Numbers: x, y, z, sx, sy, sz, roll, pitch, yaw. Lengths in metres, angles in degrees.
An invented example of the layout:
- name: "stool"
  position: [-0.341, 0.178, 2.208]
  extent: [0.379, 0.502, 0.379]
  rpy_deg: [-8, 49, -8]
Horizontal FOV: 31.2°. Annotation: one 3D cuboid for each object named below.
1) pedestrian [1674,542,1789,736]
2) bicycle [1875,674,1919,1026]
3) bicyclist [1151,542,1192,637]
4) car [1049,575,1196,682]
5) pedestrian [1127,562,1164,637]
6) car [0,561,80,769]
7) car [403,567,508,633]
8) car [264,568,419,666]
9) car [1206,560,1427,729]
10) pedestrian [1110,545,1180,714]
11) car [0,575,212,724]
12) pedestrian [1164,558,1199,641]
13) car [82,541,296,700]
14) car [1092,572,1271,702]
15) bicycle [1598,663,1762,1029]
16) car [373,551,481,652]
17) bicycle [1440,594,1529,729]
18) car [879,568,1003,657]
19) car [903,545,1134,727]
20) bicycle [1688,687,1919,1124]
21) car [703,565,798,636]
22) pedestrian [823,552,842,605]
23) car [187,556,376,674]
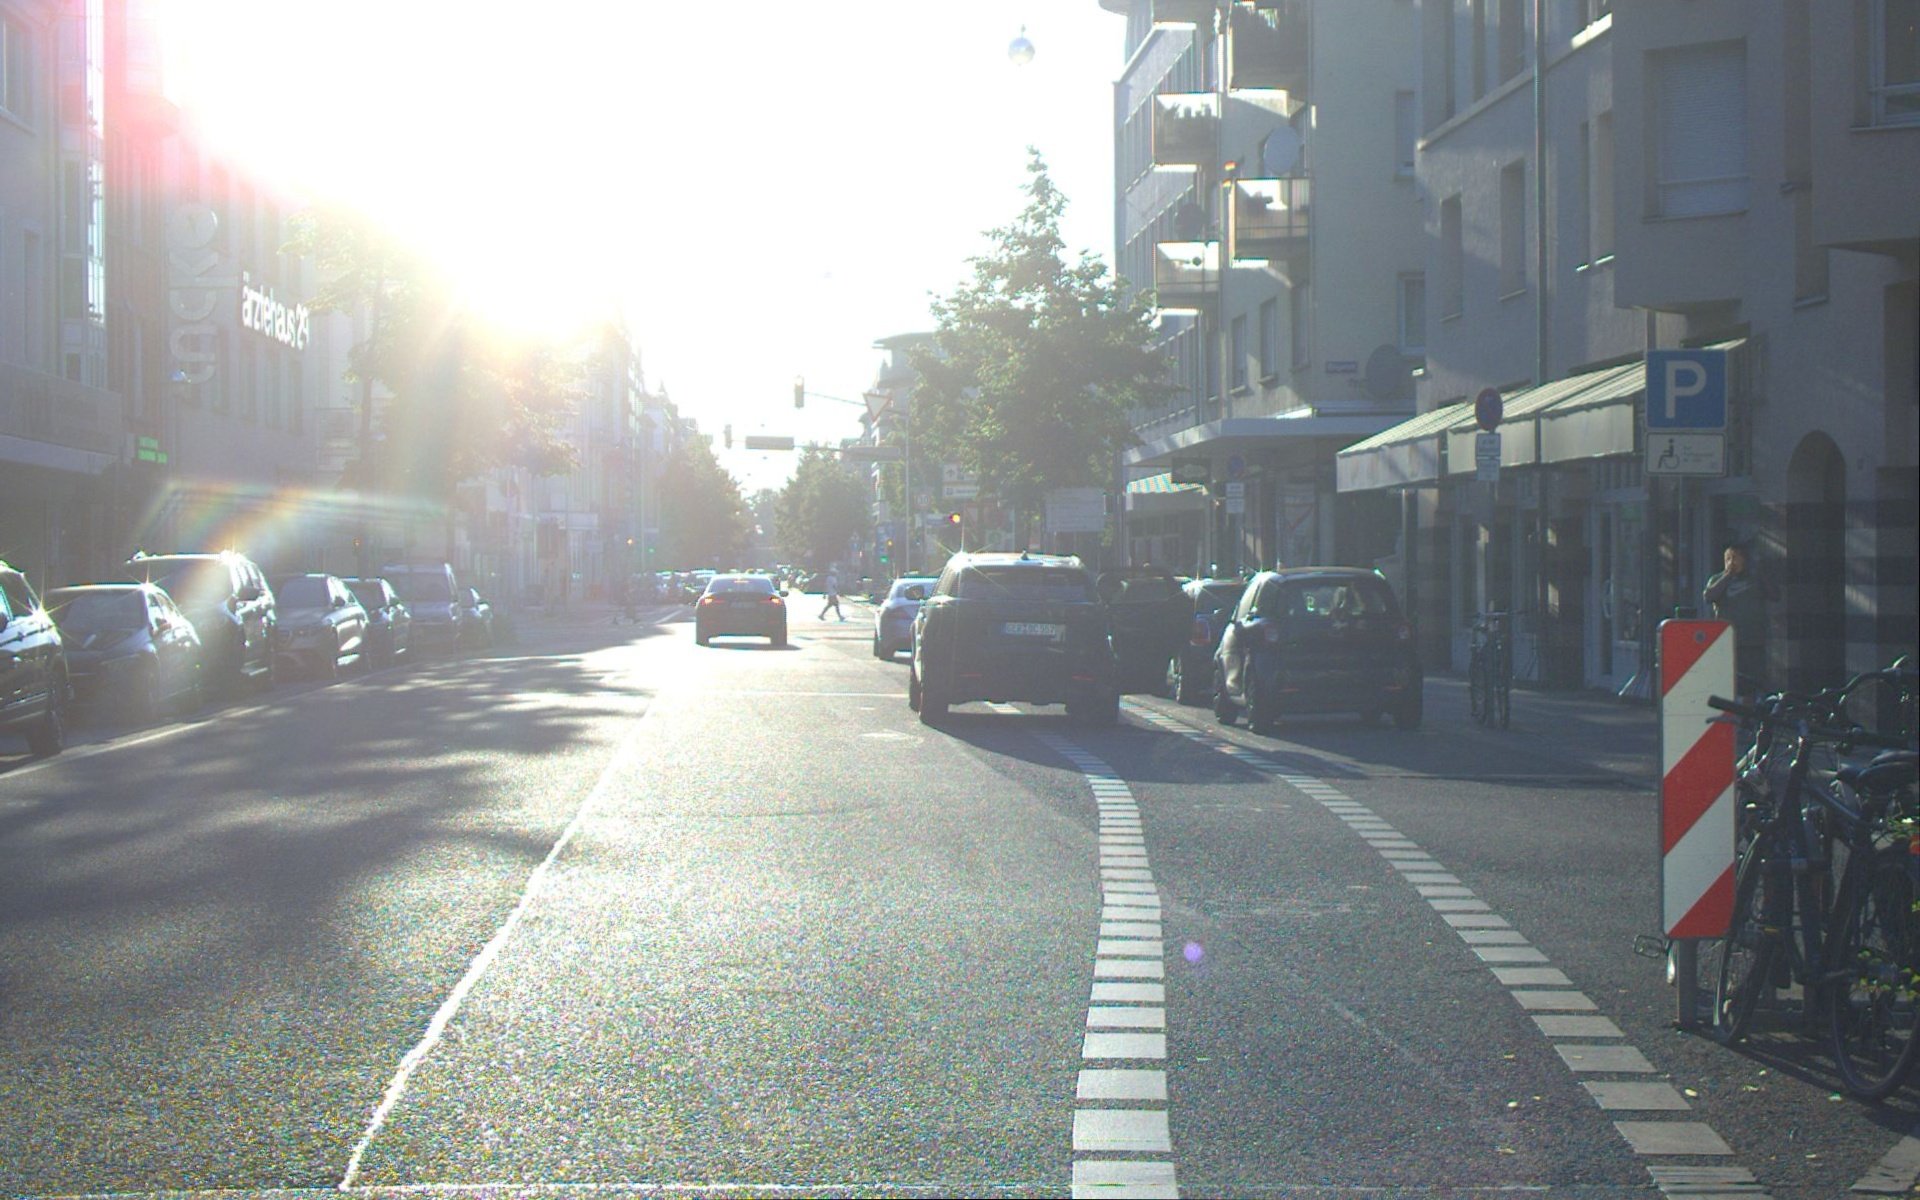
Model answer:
- name: "pedestrian"
  position: [6.686, 0.338, 29.822]
  extent: [0.810, 1.641, 0.606]
  rpy_deg: [-2, 0, 0]
- name: "bicycle"
  position: [3.403, 0.832, 11.746]
  extent: [0.371, 1.104, 1.522]
  rpy_deg: [0, 1, 9]
- name: "bicyclist"
  position: [3.802, -0.188, 61.970]
  extent: [0.650, 1.696, 1.095]
  rpy_deg: [0, 0, 0]
- name: "car"
  position: [2.234, 0.373, 48.076]
  extent: [1.703, 1.431, 3.932]
  rpy_deg: [0, 0, -2]
- name: "pedestrian"
  position: [3.876, -0.021, 71.923]
  extent: [0.688, 1.553, 0.863]
  rpy_deg: [0, 0, -2]
- name: "car"
  position: [-8.459, 0.501, 27.745]
  extent: [1.773, 1.627, 4.238]
  rpy_deg: [0, 1, -2]
- name: "car"
  position: [-10.400, -0.021, 71.103]
  extent: [1.833, 1.323, 4.124]
  rpy_deg: [0, 1, -4]
- name: "car"
  position: [-9.951, 0.253, 55.630]
  extent: [1.827, 1.434, 4.554]
  rpy_deg: [-2, 0, -3]
- name: "car"
  position: [3.436, 0.401, 33.543]
  extent: [1.632, 1.548, 2.695]
  rpy_deg: [-1, 1, -5]
- name: "pedestrian"
  position: [1.841, 0.291, 34.288]
  extent: [0.441, 1.659, 0.565]
  rpy_deg: [-1, 1, -27]
- name: "car"
  position: [-9.219, 0.485, 36.579]
  extent: [1.713, 1.435, 4.310]
  rpy_deg: [-2, 1, -3]
- name: "pedestrian"
  position: [4.625, -0.020, 71.847]
  extent: [0.688, 1.716, 0.716]
  rpy_deg: [-1, 0, 3]
- name: "car"
  position: [-9.563, 0.207, 43.029]
  extent: [1.827, 1.804, 5.349]
  rpy_deg: [-2, 1, -5]
- name: "car"
  position: [2.548, 0.397, 40.302]
  extent: [1.633, 1.419, 3.758]
  rpy_deg: [-1, 1, -3]
- name: "bicycle"
  position: [2.452, 0.803, 11.801]
  extent: [0.362, 1.137, 1.565]
  rpy_deg: [0, 0, 5]
- name: "car"
  position: [-10.053, 0.017, 65.051]
  extent: [1.832, 1.848, 4.125]
  rpy_deg: [0, 0, -6]
- name: "bicycle"
  position: [5.012, 0.572, 32.915]
  extent: [0.397, 1.230, 1.826]
  rpy_deg: [-1, 1, -5]
- name: "car"
  position: [-0.365, 0.194, 59.186]
  extent: [1.922, 1.410, 4.548]
  rpy_deg: [2, 0, -2]
- name: "car"
  position: [0.512, 0.313, 34.536]
  extent: [1.995, 1.649, 4.674]
  rpy_deg: [2, 1, -2]
- name: "bicycle"
  position: [2.514, 0.827, 9.869]
  extent: [0.381, 1.096, 1.523]
  rpy_deg: [-1, 1, -6]
- name: "car"
  position: [-4.323, -0.010, 71.478]
  extent: [1.883, 1.410, 4.325]
  rpy_deg: [0, 0, -2]
- name: "pedestrian"
  position: [-4.136, -0.710, 111.392]
  extent: [0.494, 1.709, 0.462]
  rpy_deg: [0, 2, -22]
- name: "car"
  position: [-9.729, 0.180, 49.661]
  extent: [1.827, 1.551, 5.136]
  rpy_deg: [-2, 1, -2]
